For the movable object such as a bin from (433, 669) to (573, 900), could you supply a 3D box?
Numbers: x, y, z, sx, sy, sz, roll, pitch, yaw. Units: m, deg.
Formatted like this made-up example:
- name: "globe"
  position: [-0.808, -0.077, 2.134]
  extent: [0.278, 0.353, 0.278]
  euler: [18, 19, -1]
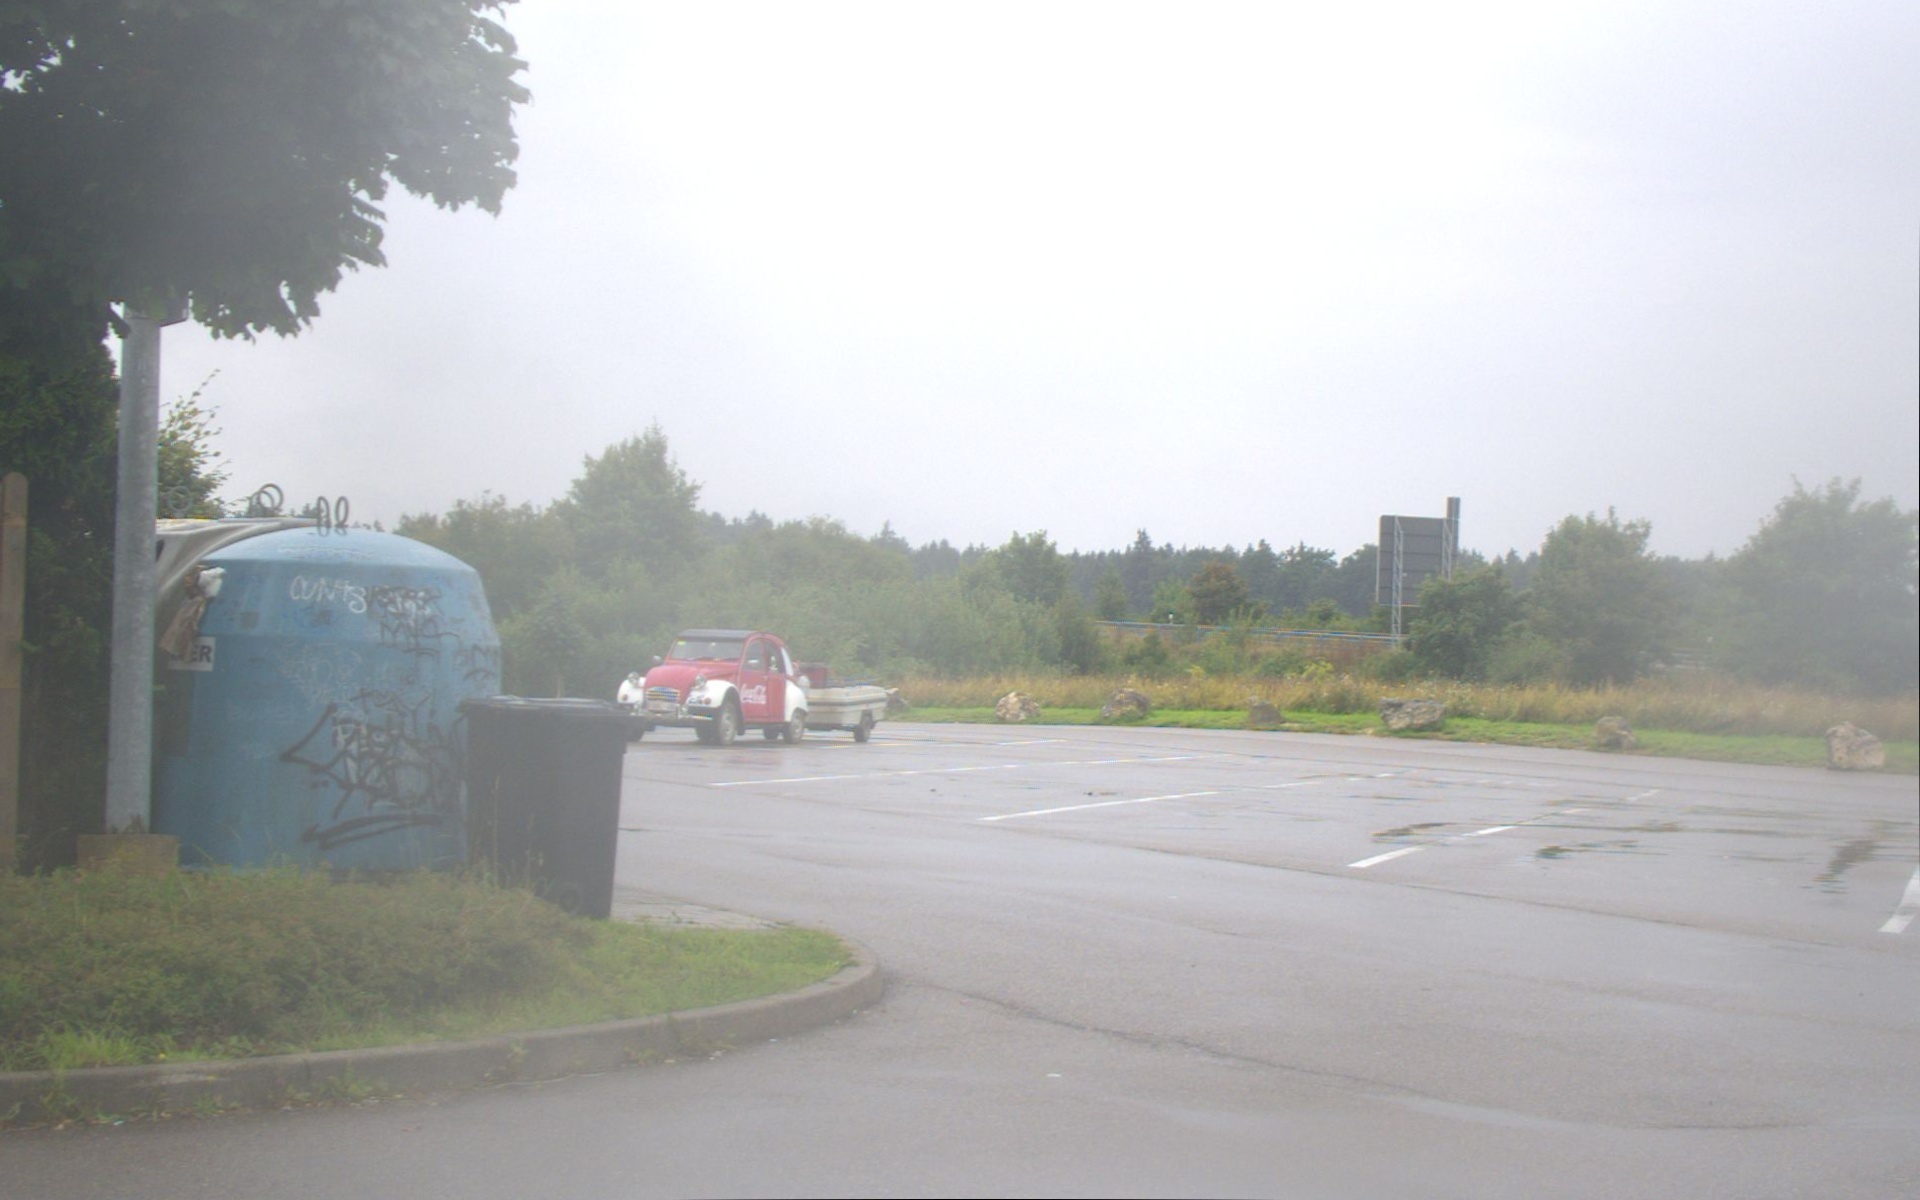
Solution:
- name: "movable object such as a bin"
  position: [-1.936, 0.774, 14.592]
  extent: [0.404, 0.945, 0.450]
  euler: [3, 0, 15]

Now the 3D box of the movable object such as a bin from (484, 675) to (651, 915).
- name: "movable object such as a bin"
  position: [-1.617, 0.796, 14.162]
  extent: [0.435, 0.945, 0.472]
  euler: [2, -1, 39]

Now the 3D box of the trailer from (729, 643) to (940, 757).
- name: "trailer"
  position: [-1.743, 1.411, 49.116]
  extent: [1.696, 1.527, 3.996]
  euler: [0, -1, 18]

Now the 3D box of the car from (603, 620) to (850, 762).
- name: "car"
  position: [-3.020, 1.201, 45.289]
  extent: [1.824, 1.771, 3.996]
  euler: [0, -2, 19]
